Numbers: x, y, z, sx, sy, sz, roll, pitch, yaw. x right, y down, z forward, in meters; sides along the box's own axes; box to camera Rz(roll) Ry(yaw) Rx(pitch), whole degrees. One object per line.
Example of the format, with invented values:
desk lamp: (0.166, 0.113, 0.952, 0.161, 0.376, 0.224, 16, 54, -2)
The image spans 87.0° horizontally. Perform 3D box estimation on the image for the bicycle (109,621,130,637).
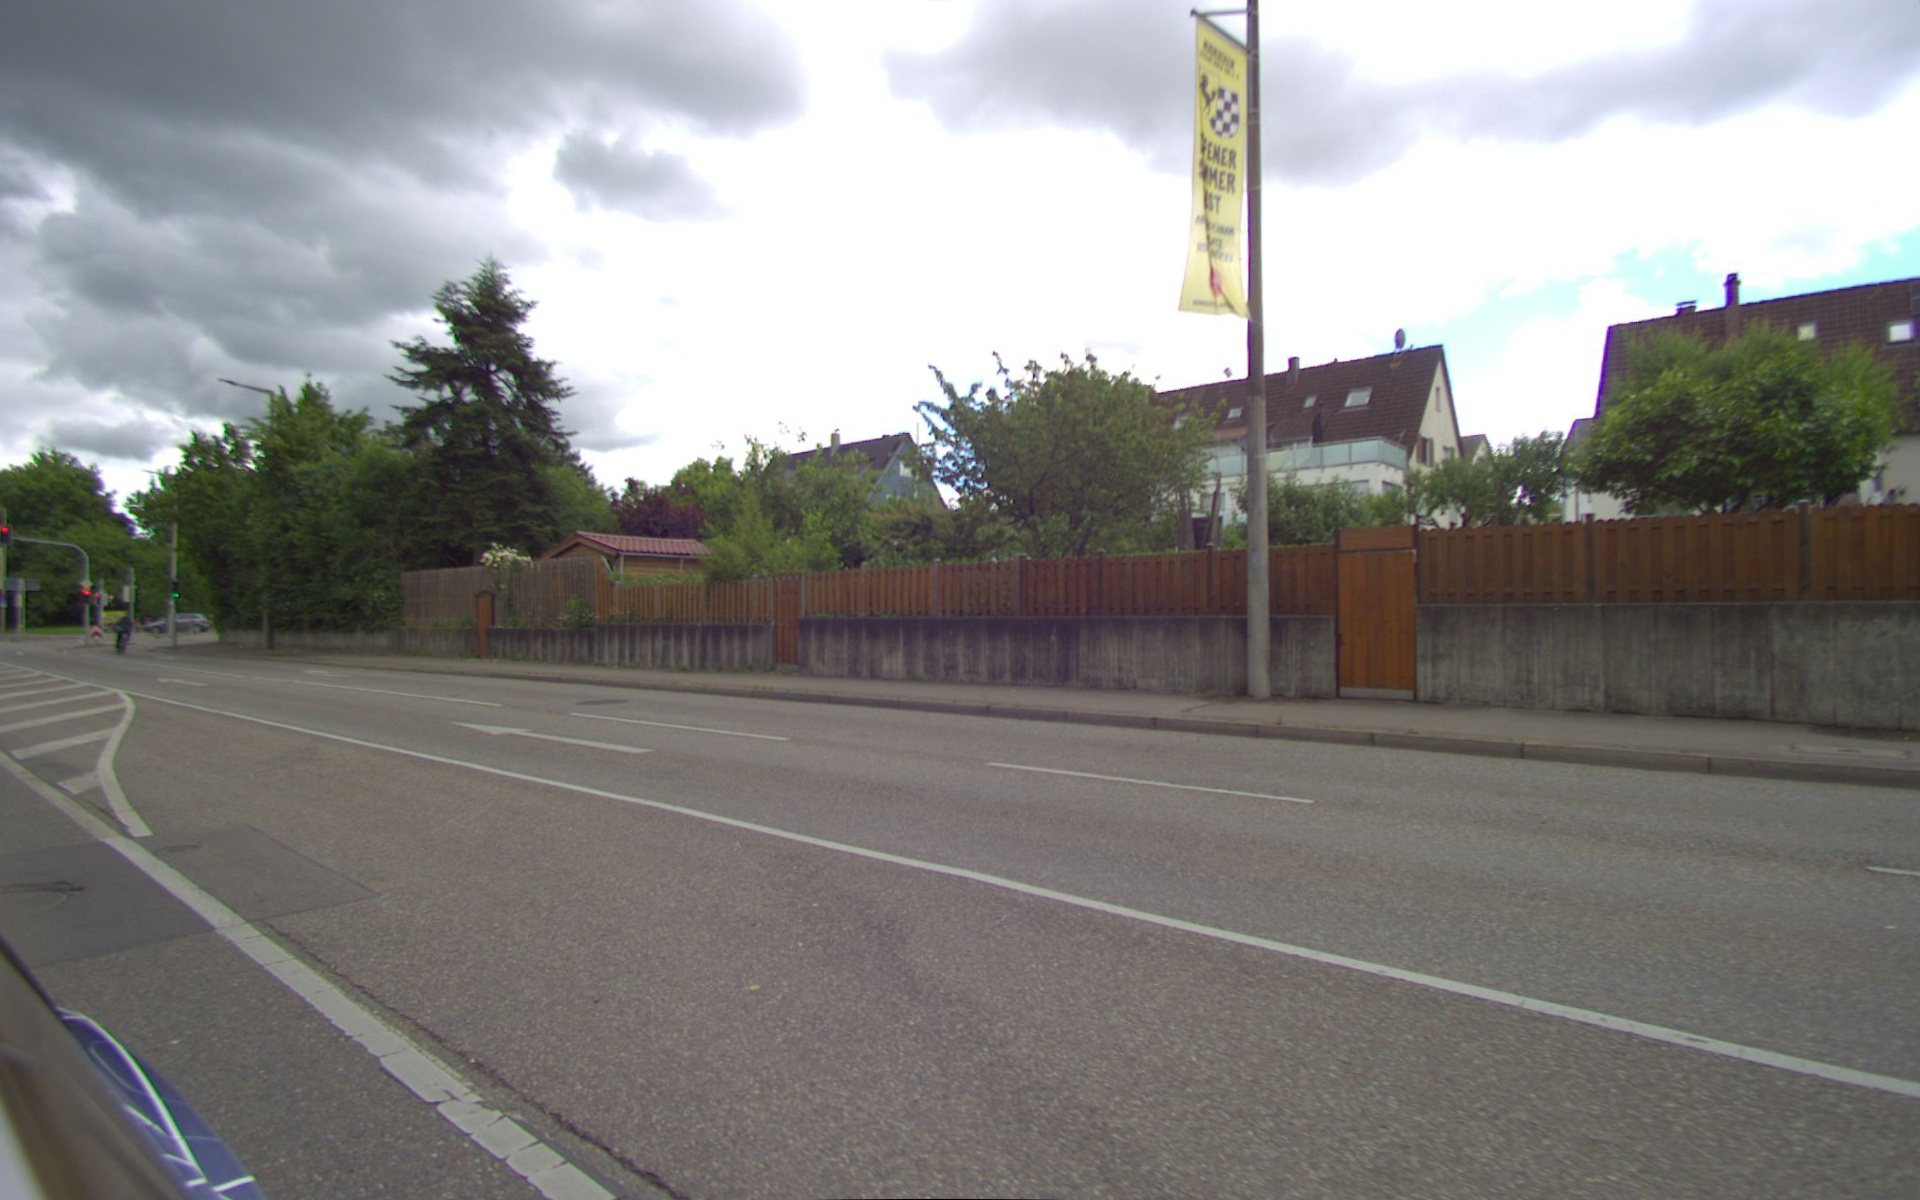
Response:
bicycle: (-70.563, 2.423, 84.976, 0.537, 1.262, 1.940, -1, 1, -11)

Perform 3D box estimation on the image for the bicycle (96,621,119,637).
bicycle: (-71.314, 2.443, 84.676, 0.537, 1.262, 1.940, -1, 0, -11)

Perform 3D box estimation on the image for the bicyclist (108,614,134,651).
bicyclist: (-36.521, 1.407, 44.049, 0.977, 1.546, 0.636, -2, 0, 37)

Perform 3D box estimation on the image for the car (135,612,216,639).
car: (-62.210, 2.006, 80.340, 4.664, 1.867, 2.007, -1, 1, -20)

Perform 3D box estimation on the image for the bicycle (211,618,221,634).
bicycle: (-64.426, 2.258, 87.596, 0.536, 1.262, 1.941, -2, 1, -32)

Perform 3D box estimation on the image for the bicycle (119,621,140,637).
bicycle: (-69.739, 2.406, 84.986, 0.537, 1.262, 1.940, -1, 1, -11)

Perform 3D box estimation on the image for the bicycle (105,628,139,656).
bicycle: (-36.458, 1.809, 44.018, 2.144, 1.154, 0.636, -1, 0, 37)

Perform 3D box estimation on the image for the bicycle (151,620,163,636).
bicycle: (-67.997, 2.360, 85.710, 0.536, 1.262, 1.941, -2, 1, -32)
